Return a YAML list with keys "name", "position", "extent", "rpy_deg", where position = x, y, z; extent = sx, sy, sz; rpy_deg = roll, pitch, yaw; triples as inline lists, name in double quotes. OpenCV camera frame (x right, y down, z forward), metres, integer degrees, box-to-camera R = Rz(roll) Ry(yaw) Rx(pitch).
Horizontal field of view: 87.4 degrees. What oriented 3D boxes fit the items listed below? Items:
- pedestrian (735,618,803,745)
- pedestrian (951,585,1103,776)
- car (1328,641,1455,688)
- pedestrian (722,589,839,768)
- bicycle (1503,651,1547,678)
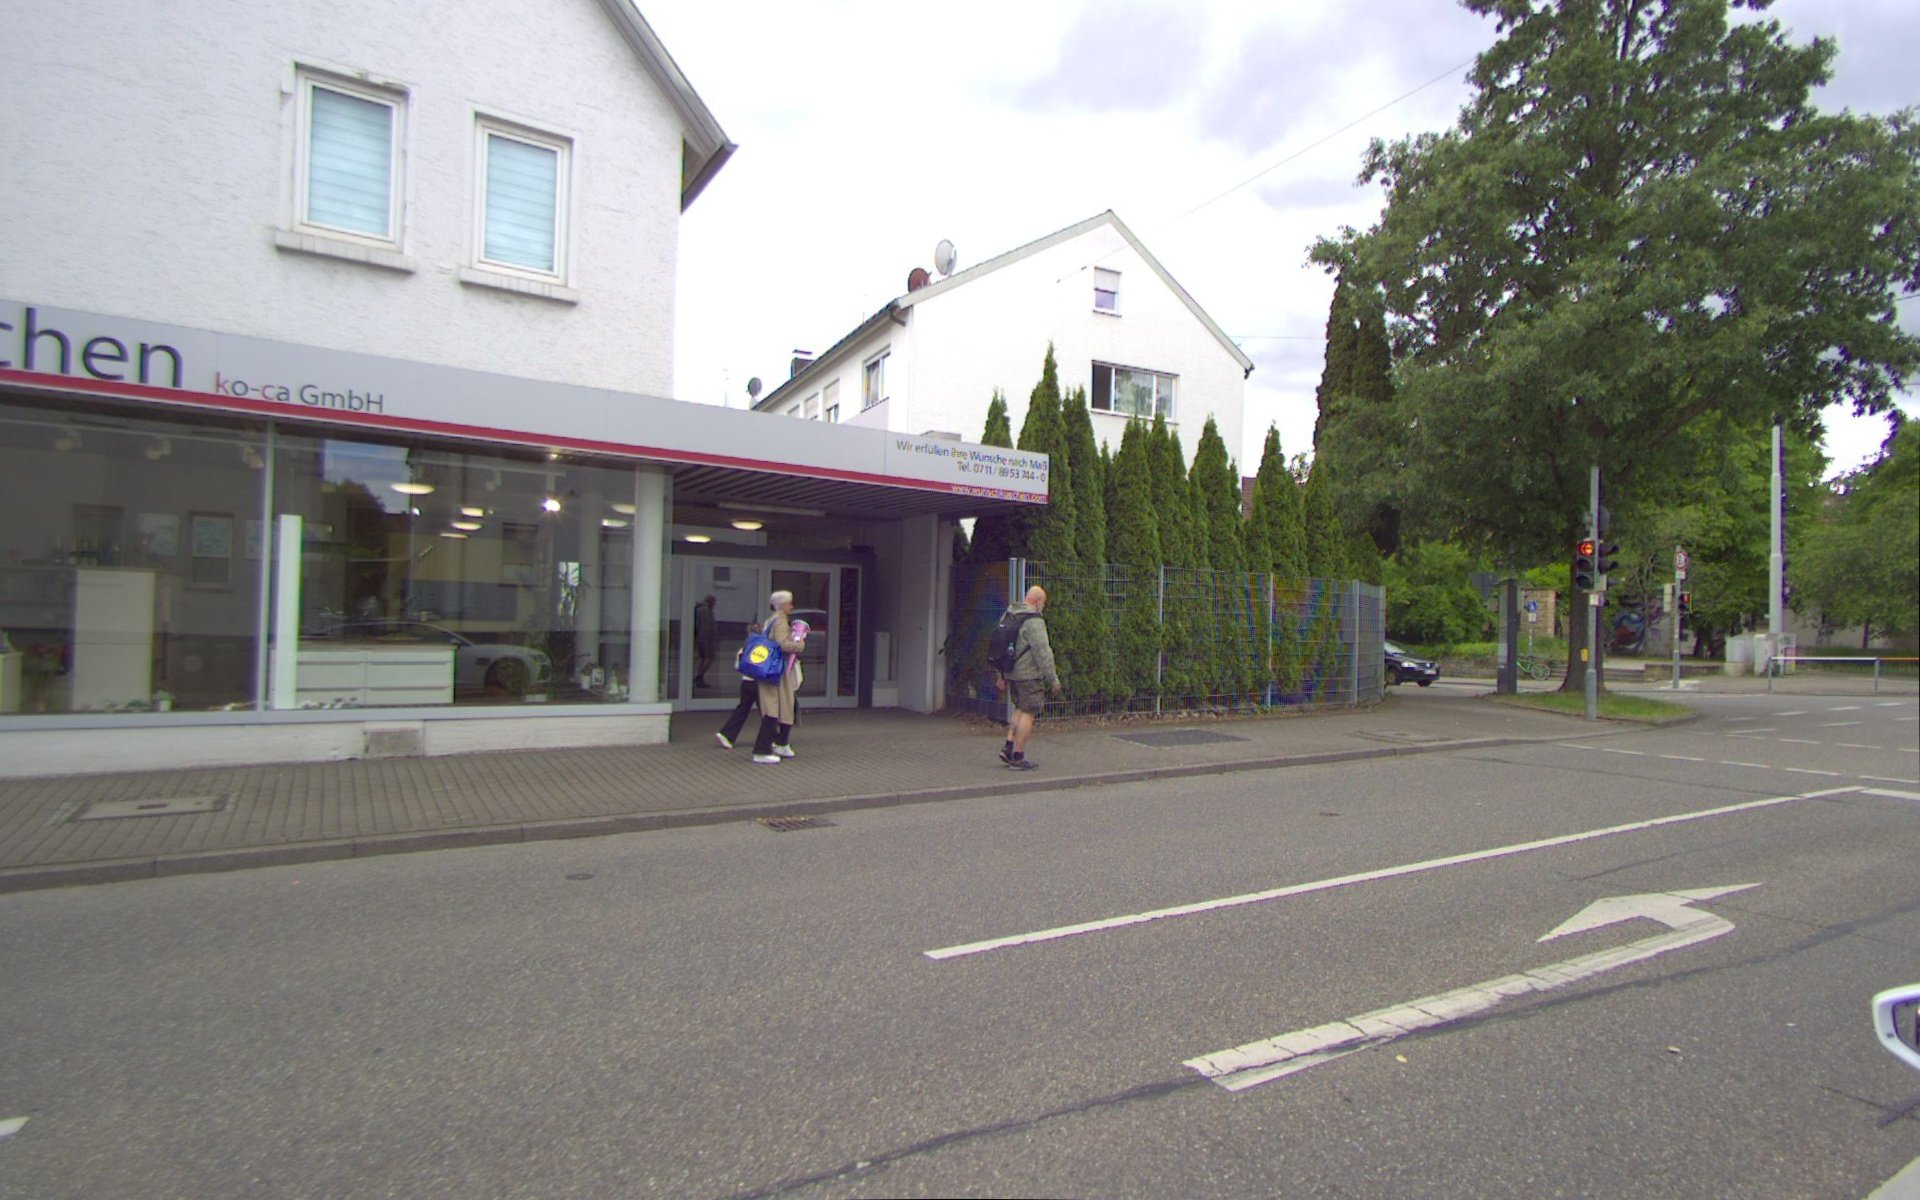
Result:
- name: "pedestrian"
  position: [-2.002, 0.844, 10.536]
  extent: [0.546, 1.278, 0.378]
  rpy_deg: [2, 0, -41]
- name: "pedestrian"
  position: [0.664, 0.761, 9.986]
  extent: [1.215, 1.777, 0.817]
  rpy_deg: [2, 0, -30]
- name: "car"
  position: [14.045, 2.060, 32.890]
  extent: [1.746, 1.417, 3.626]
  rpy_deg: [1, -2, -23]
- name: "pedestrian"
  position: [-1.737, 0.732, 9.730]
  extent: [0.860, 1.627, 0.634]
  rpy_deg: [2, 0, -41]
- name: "bicycle"
  position: [20.543, 2.335, 36.537]
  extent: [0.421, 0.954, 1.304]
  rpy_deg: [2, -4, -37]
